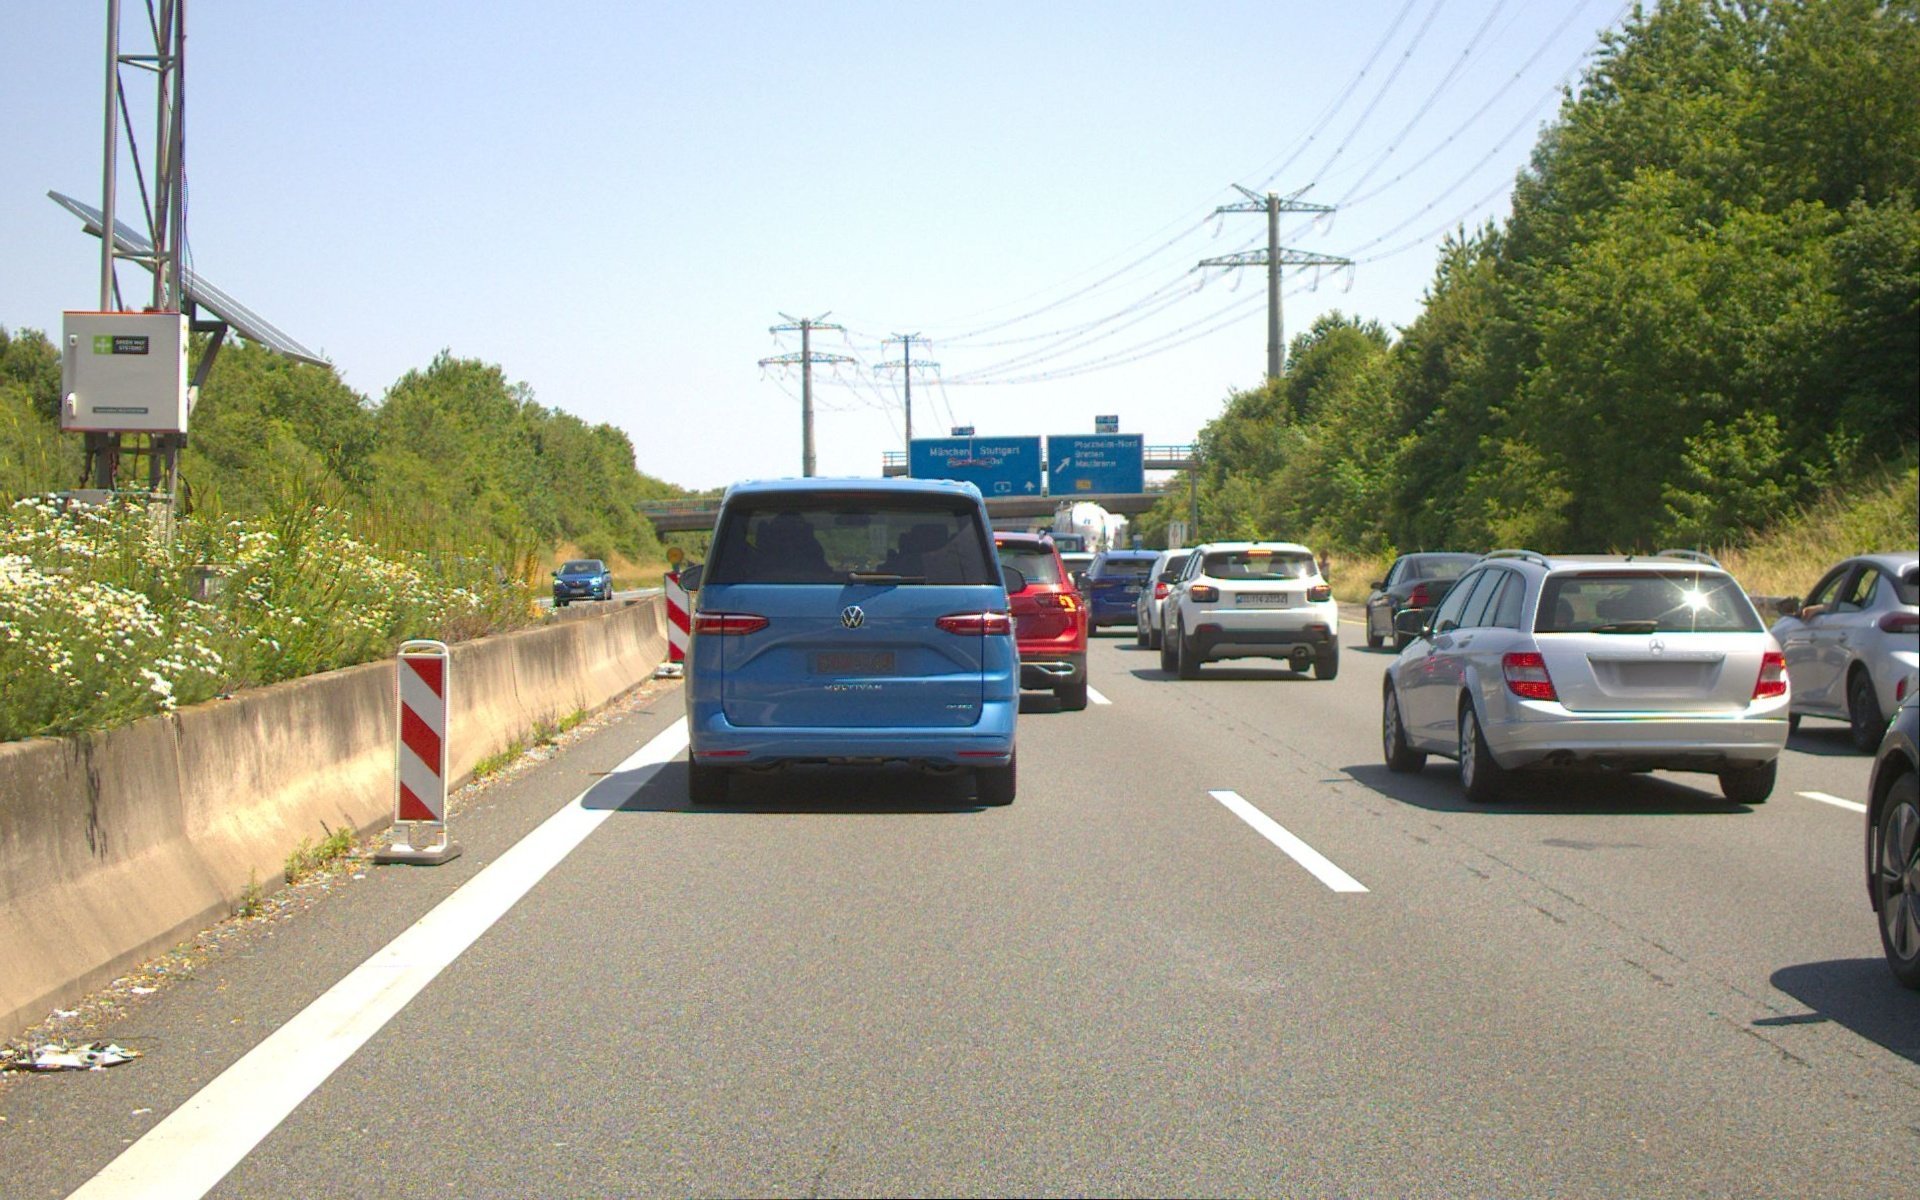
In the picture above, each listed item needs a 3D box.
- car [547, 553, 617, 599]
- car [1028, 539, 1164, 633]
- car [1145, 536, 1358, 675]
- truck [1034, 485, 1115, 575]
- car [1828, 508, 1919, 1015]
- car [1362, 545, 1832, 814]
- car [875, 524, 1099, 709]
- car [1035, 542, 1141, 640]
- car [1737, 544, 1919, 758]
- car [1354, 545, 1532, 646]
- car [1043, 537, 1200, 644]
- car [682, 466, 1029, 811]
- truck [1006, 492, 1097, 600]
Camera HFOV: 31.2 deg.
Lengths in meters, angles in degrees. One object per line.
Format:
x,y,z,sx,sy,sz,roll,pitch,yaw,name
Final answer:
-13.535,-0.879,123.349,1.993,1.540,4.912,-1,1,-1,car
2.289,-0.272,58.873,1.908,1.511,4.384,1,1,-3,car
3.310,0.024,39.698,1.908,1.502,3.922,1,1,-3,car
5.402,-3.339,164.909,2.644,4.058,16.443,1,1,-2,truck
4.009,0.537,9.735,1.828,1.609,4.431,0,1,-2,car
3.735,0.401,20.948,1.821,1.432,4.384,1,1,-3,car
0.183,0.105,32.487,1.908,1.625,4.384,0,1,-2,car
2.693,-0.221,73.146,1.993,2.007,4.000,1,1,-1,car
7.244,0.332,25.953,1.741,1.465,4.014,1,1,-1,car
6.924,-0.097,49.692,1.734,1.373,4.303,1,1,-3,car
2.367,-0.175,51.424,1.908,1.511,4.384,1,1,-3,car
-0.748,0.175,21.058,1.870,1.872,4.384,1,1,-5,car
2.382,-1.432,90.856,1.993,2.714,5.681,1,1,-2,truck
